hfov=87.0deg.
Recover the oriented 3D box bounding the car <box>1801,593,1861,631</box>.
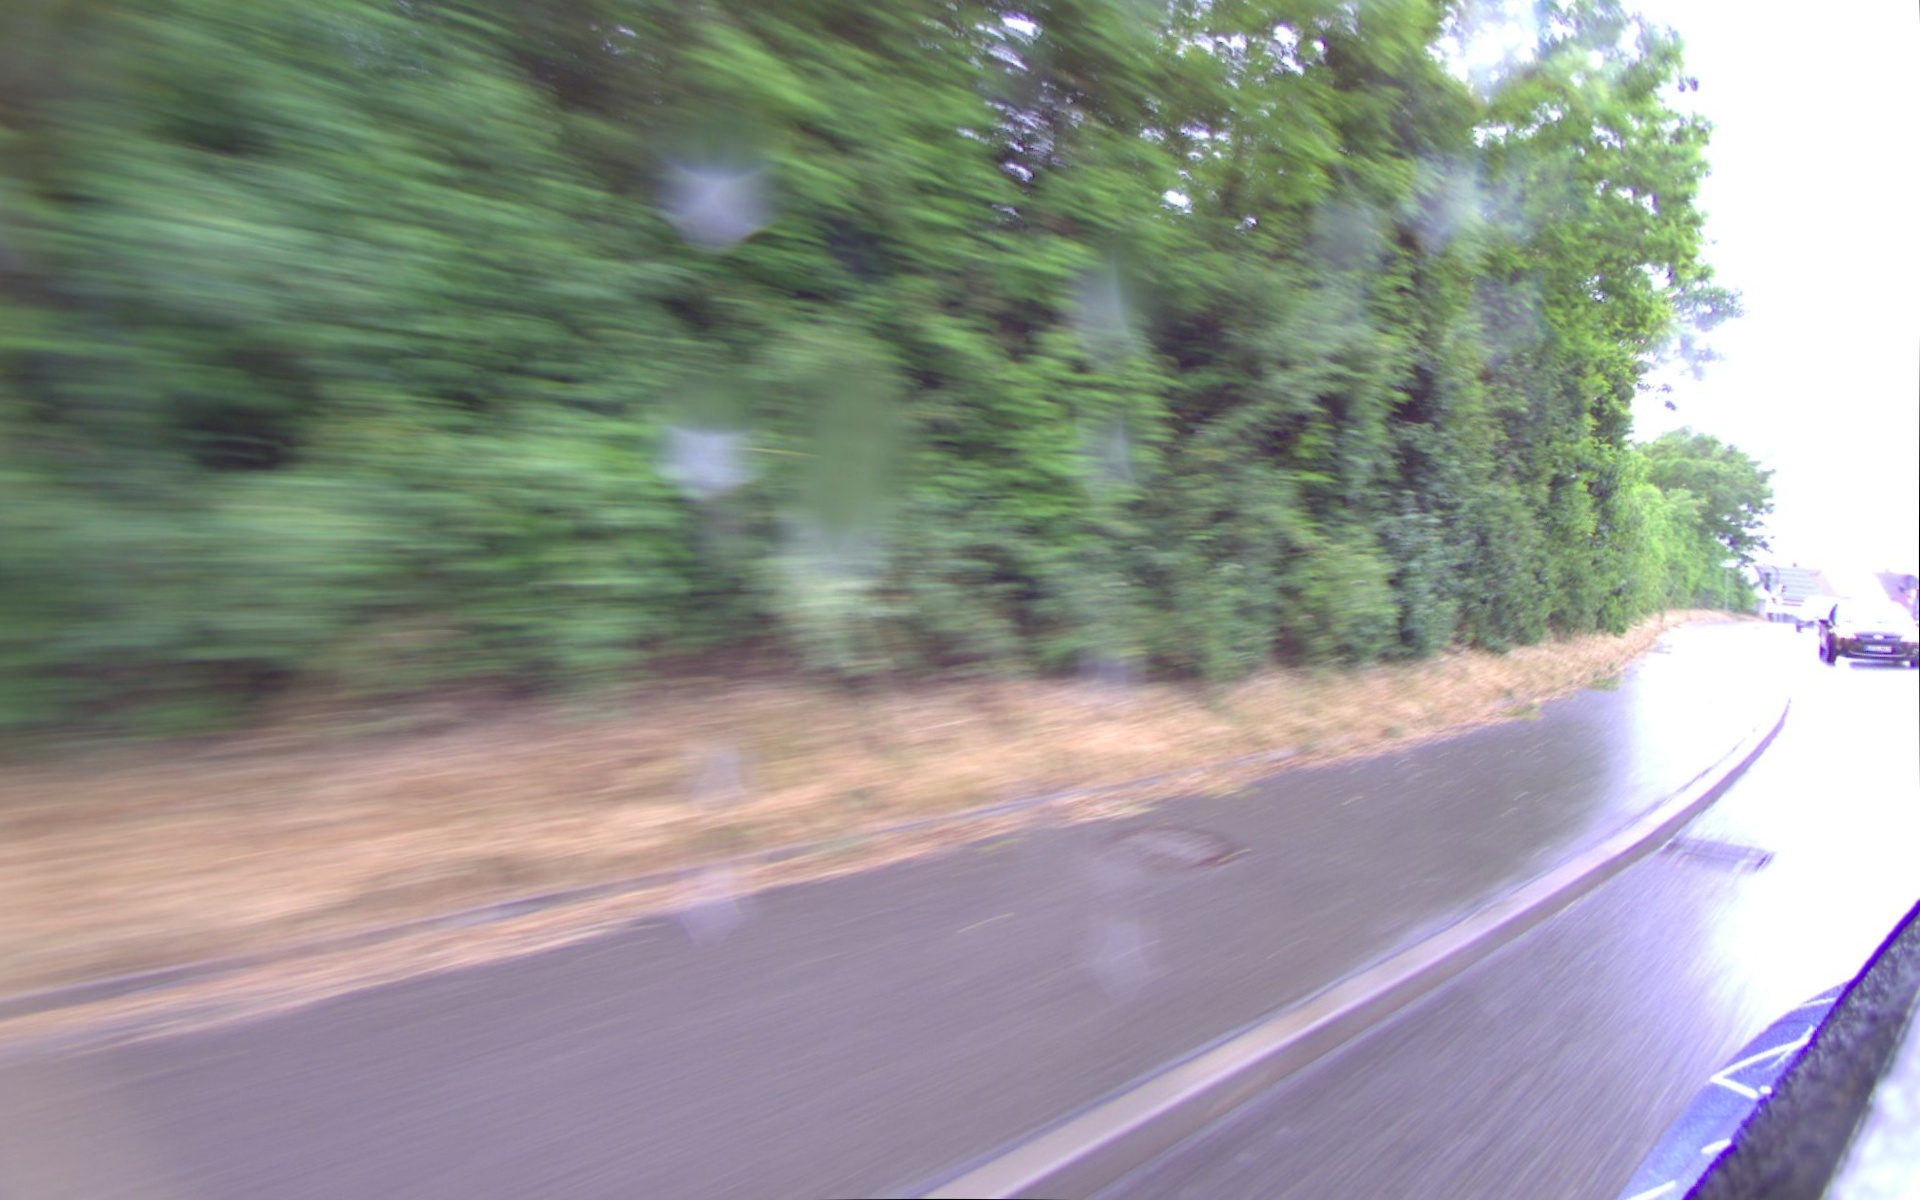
[{"bbox_3d":[38.334,0.501,44.507,1.869,1.458,4.311,5,3,42],"label":"car"}]

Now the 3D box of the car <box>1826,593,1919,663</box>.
[{"bbox_3d":[22.140,0.617,24.341,1.868,1.459,4.314,4,3,40],"label":"car"}]
